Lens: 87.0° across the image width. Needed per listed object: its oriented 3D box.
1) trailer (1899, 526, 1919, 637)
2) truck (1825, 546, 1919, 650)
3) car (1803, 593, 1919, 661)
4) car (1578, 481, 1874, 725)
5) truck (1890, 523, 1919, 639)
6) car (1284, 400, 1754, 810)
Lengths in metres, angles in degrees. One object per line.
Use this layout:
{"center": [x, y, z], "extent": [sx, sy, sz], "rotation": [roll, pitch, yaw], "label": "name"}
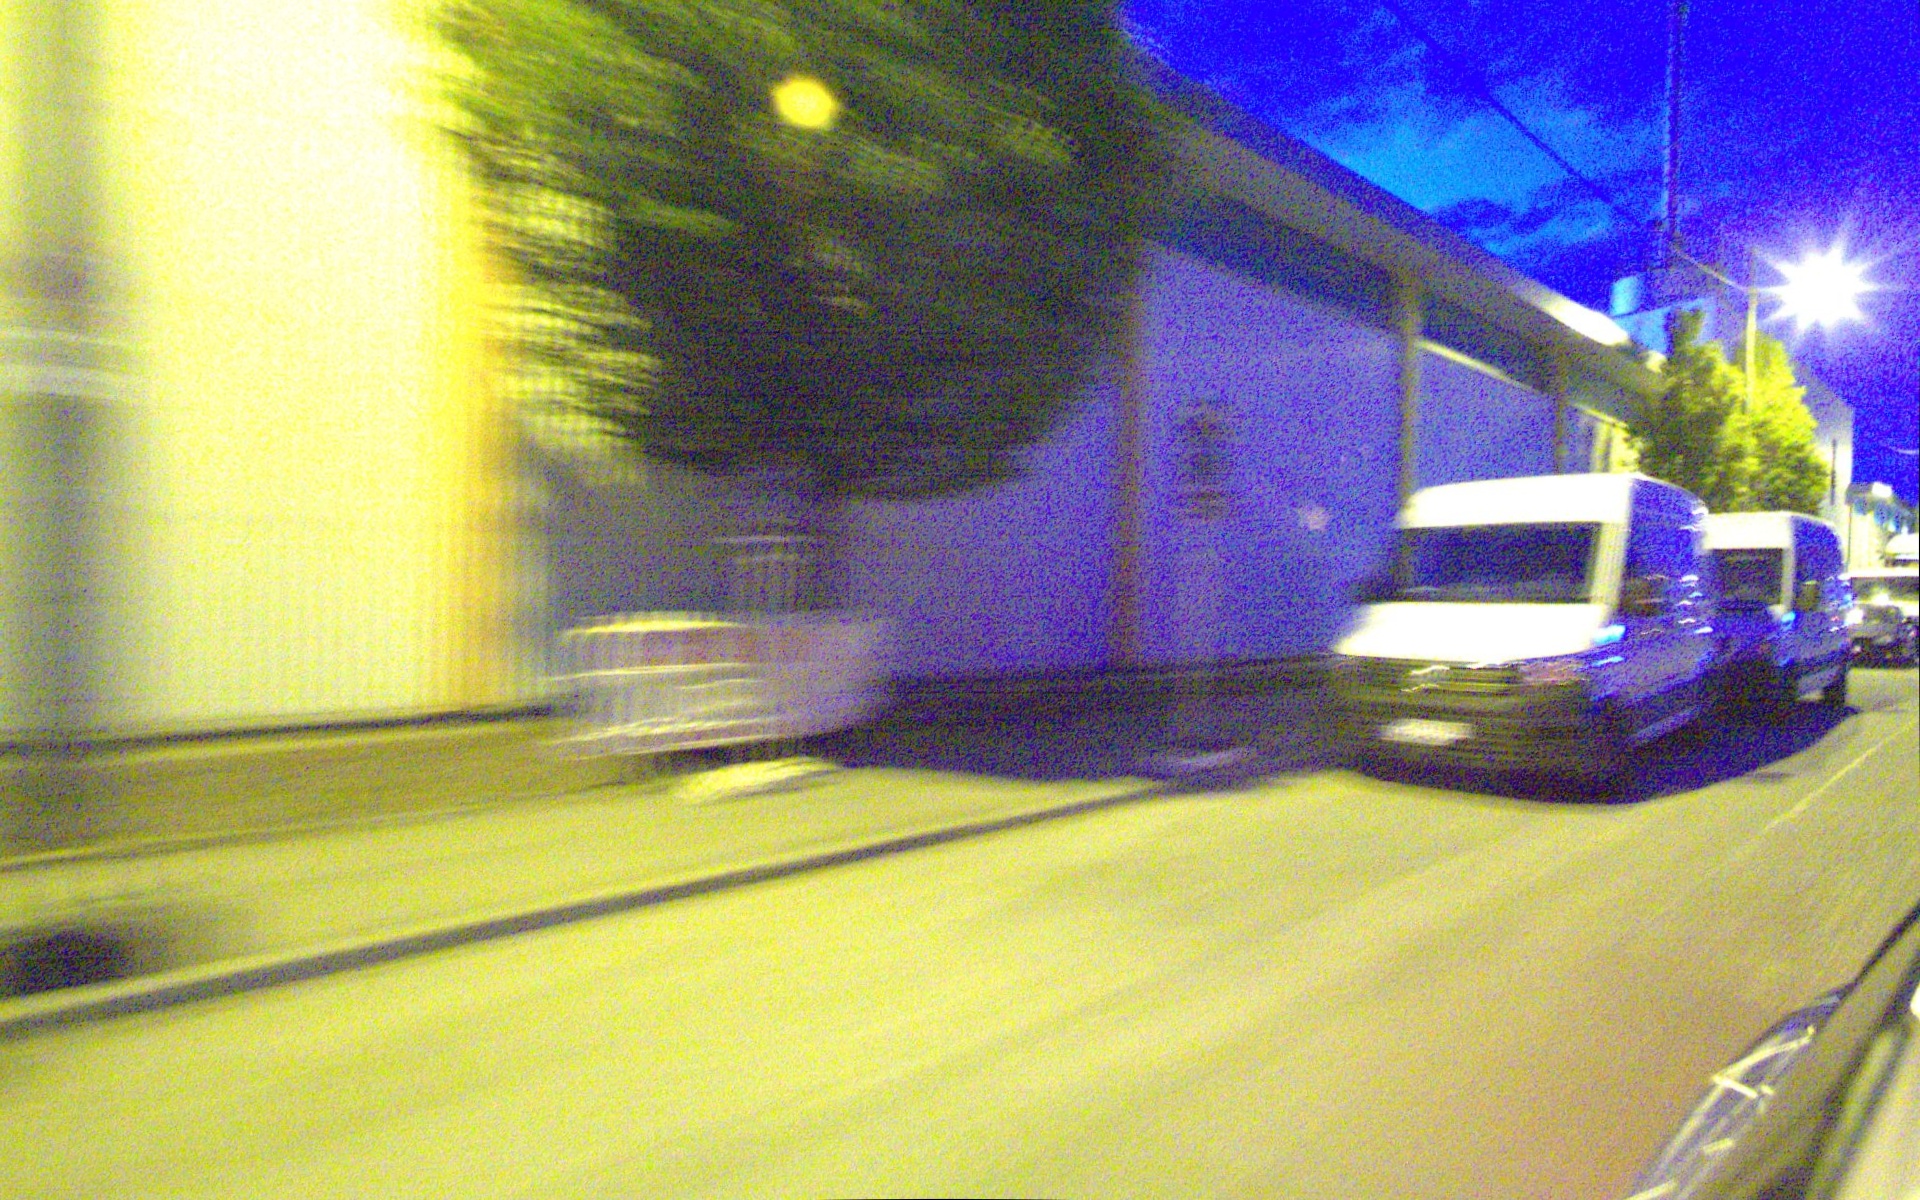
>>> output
{"center": [39.139, -0.716, 39.054], "extent": [14.401, 3.811, 2.770], "rotation": [-1, 0, -41], "label": "trailer"}
{"center": [26.431, -0.065, 28.247], "extent": [6.479, 2.626, 2.407], "rotation": [0, 1, -40], "label": "truck"}
{"center": [21.125, 0.577, 23.356], "extent": [4.823, 1.425, 1.832], "rotation": [0, -1, -42], "label": "car"}
{"center": [10.421, 0.044, 13.537], "extent": [5.910, 2.604, 1.996], "rotation": [0, -1, -42], "label": "car"}
{"center": [34.006, -0.656, 34.567], "extent": [5.137, 3.811, 2.770], "rotation": [-1, 0, -41], "label": "truck"}
{"center": [5.390, 0.041, 9.243], "extent": [5.812, 2.604, 2.129], "rotation": [0, -1, -44], "label": "car"}
